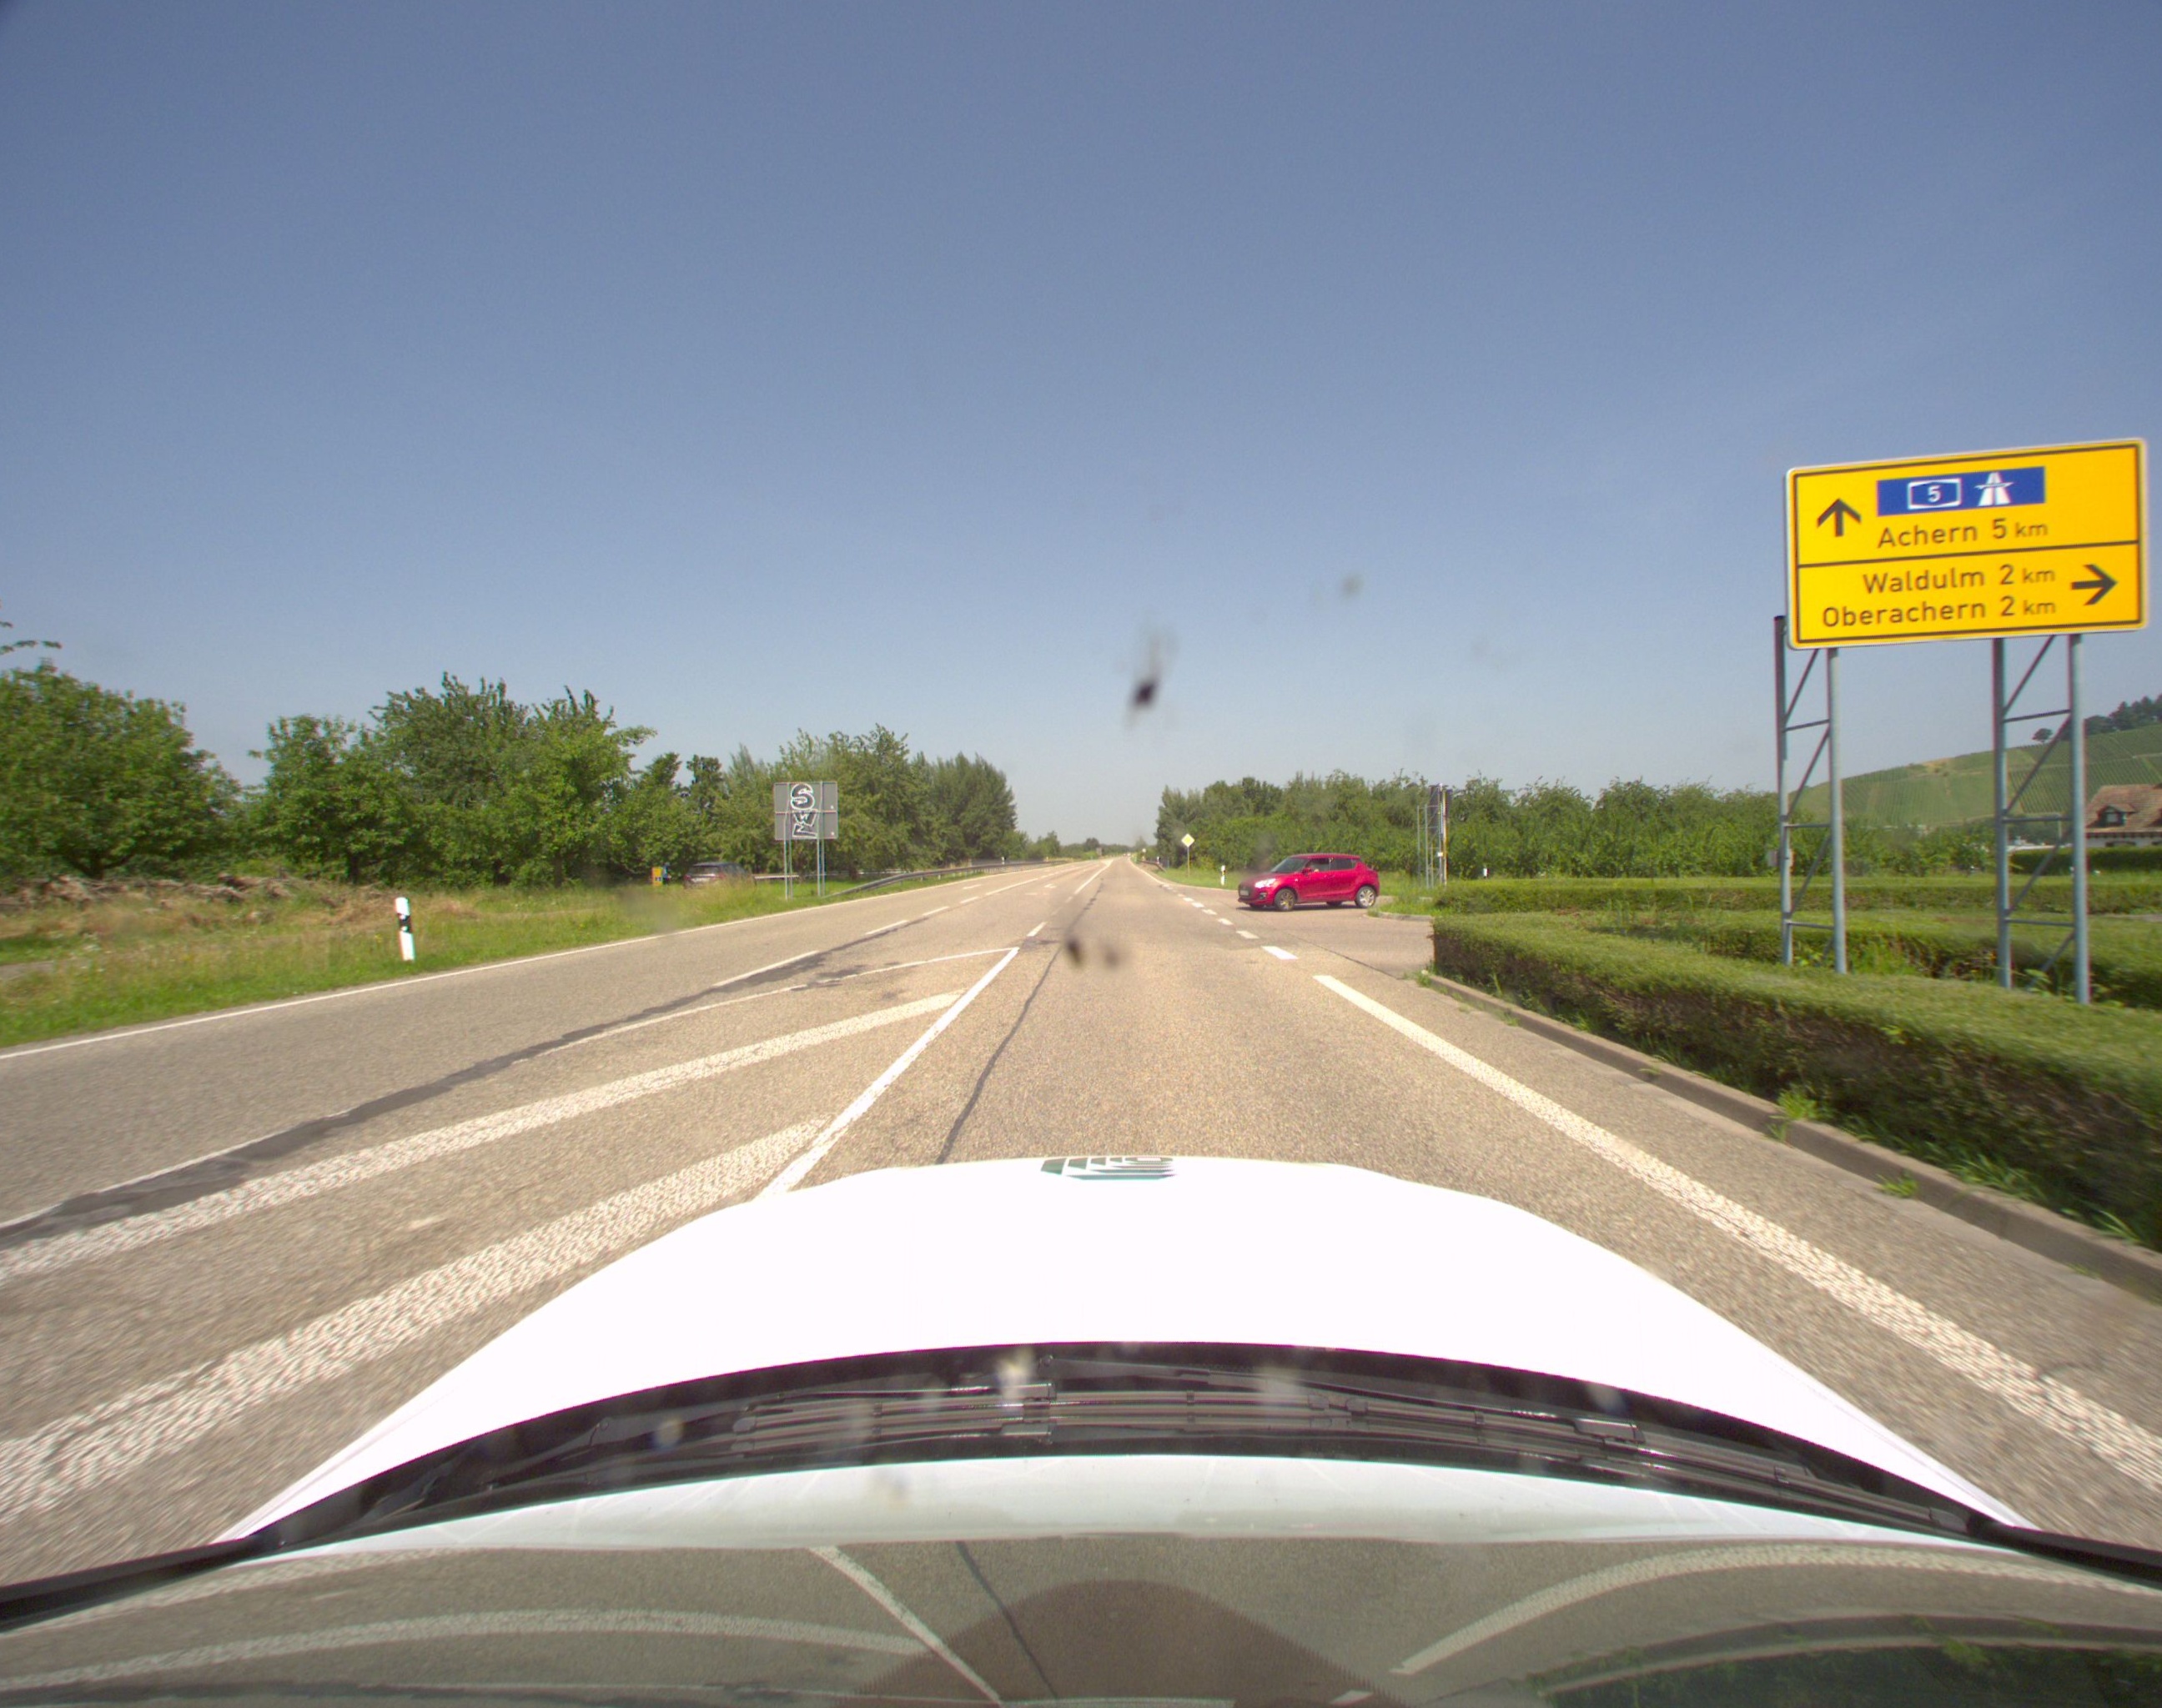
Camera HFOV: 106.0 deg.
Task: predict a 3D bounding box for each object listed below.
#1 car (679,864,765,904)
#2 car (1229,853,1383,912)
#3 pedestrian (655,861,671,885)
[{"bbox_3d":[-14.208,1.135,32.467,1.700,1.423,4.040,-1,0,-2],"label":"car"},{"bbox_3d":[6.131,0.739,22.304,3.747,1.493,1.663,0,0,-16],"label":"car"},{"bbox_3d":[-23.322,1.052,45.461,0.571,1.297,0.556,0,0,4],"label":"pedestrian"}]
